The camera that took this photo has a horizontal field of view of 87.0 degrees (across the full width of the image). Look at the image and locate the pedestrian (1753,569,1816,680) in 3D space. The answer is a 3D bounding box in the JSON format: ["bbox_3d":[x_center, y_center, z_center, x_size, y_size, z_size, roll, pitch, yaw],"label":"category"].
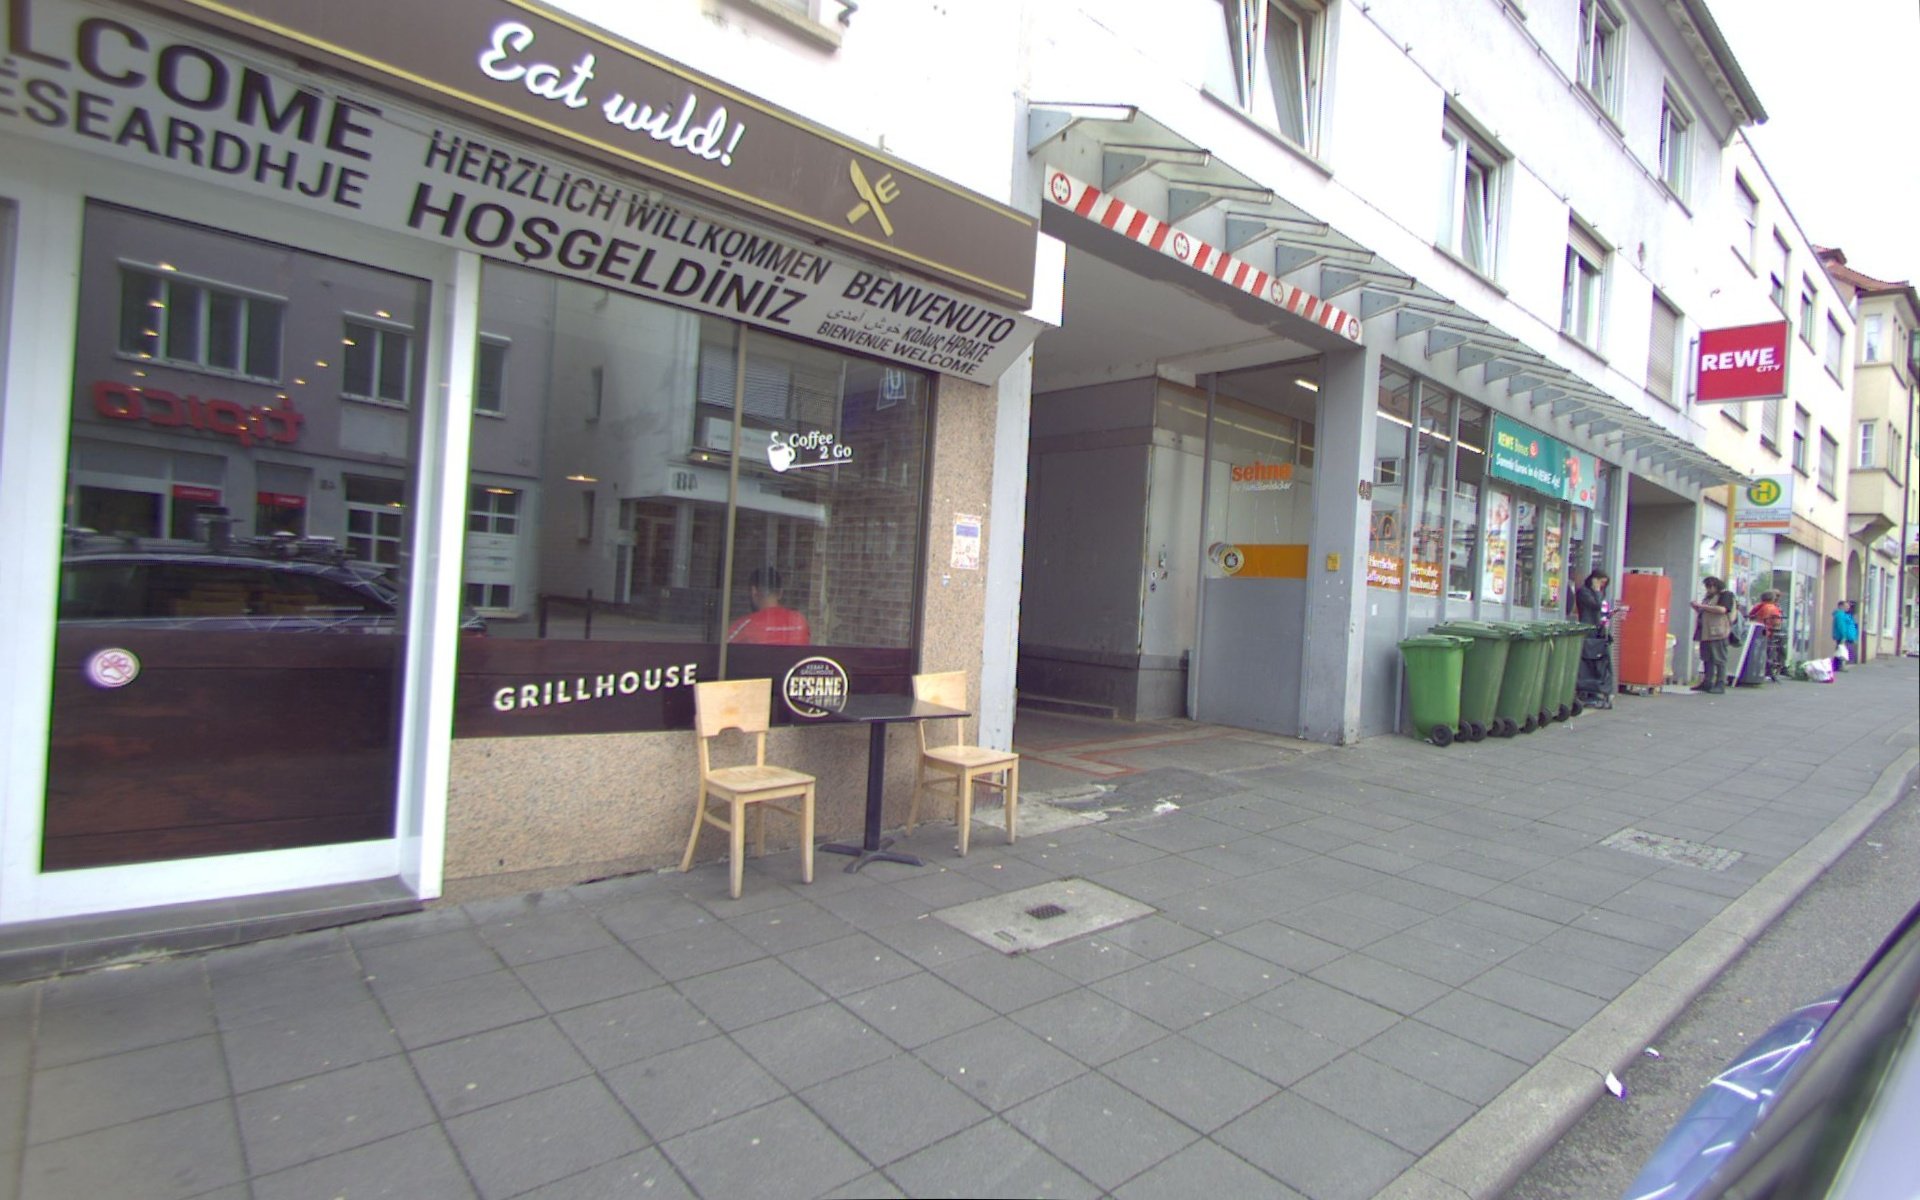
[{"bbox_3d":[14.013,0.401,17.216,0.618,1.845,0.604,0,0,15],"label":"pedestrian"}]

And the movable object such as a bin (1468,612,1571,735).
[{"bbox_3d":[5.415,0.685,9.804,0.661,1.094,0.652,1,2,-41],"label":"movable object such as a bin"}]

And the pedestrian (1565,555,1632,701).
[{"bbox_3d":[7.893,0.335,12.529,0.621,1.747,0.601,0,0,26],"label":"pedestrian"}]

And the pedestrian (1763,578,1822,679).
[{"bbox_3d":[14.612,0.485,17.774,0.599,1.747,0.624,0,0,19],"label":"pedestrian"}]

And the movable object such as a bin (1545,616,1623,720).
[{"bbox_3d":[6.843,0.722,11.094,0.549,1.070,0.559,1,2,-41],"label":"movable object such as a bin"}]

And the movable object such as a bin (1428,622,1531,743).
[{"bbox_3d":[4.854,0.746,9.463,0.550,1.043,0.670,1,2,-41],"label":"movable object such as a bin"}]

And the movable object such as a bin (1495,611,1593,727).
[{"bbox_3d":[5.939,0.678,10.297,0.648,1.094,0.652,1,2,-41],"label":"movable object such as a bin"}]

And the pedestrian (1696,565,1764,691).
[{"bbox_3d":[11.169,0.383,14.678,0.626,1.746,0.597,5,4,44],"label":"pedestrian"}]

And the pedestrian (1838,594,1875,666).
[{"bbox_3d":[21.110,0.690,23.830,0.625,1.650,0.597,0,0,44],"label":"pedestrian"}]

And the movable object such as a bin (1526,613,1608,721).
[{"bbox_3d":[6.420,0.688,10.707,0.564,1.073,0.569,1,2,-41],"label":"movable object such as a bin"}]

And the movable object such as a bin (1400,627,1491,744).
[{"bbox_3d":[4.369,0.749,9.112,0.490,0.968,0.568,1,2,-41],"label":"movable object such as a bin"}]
